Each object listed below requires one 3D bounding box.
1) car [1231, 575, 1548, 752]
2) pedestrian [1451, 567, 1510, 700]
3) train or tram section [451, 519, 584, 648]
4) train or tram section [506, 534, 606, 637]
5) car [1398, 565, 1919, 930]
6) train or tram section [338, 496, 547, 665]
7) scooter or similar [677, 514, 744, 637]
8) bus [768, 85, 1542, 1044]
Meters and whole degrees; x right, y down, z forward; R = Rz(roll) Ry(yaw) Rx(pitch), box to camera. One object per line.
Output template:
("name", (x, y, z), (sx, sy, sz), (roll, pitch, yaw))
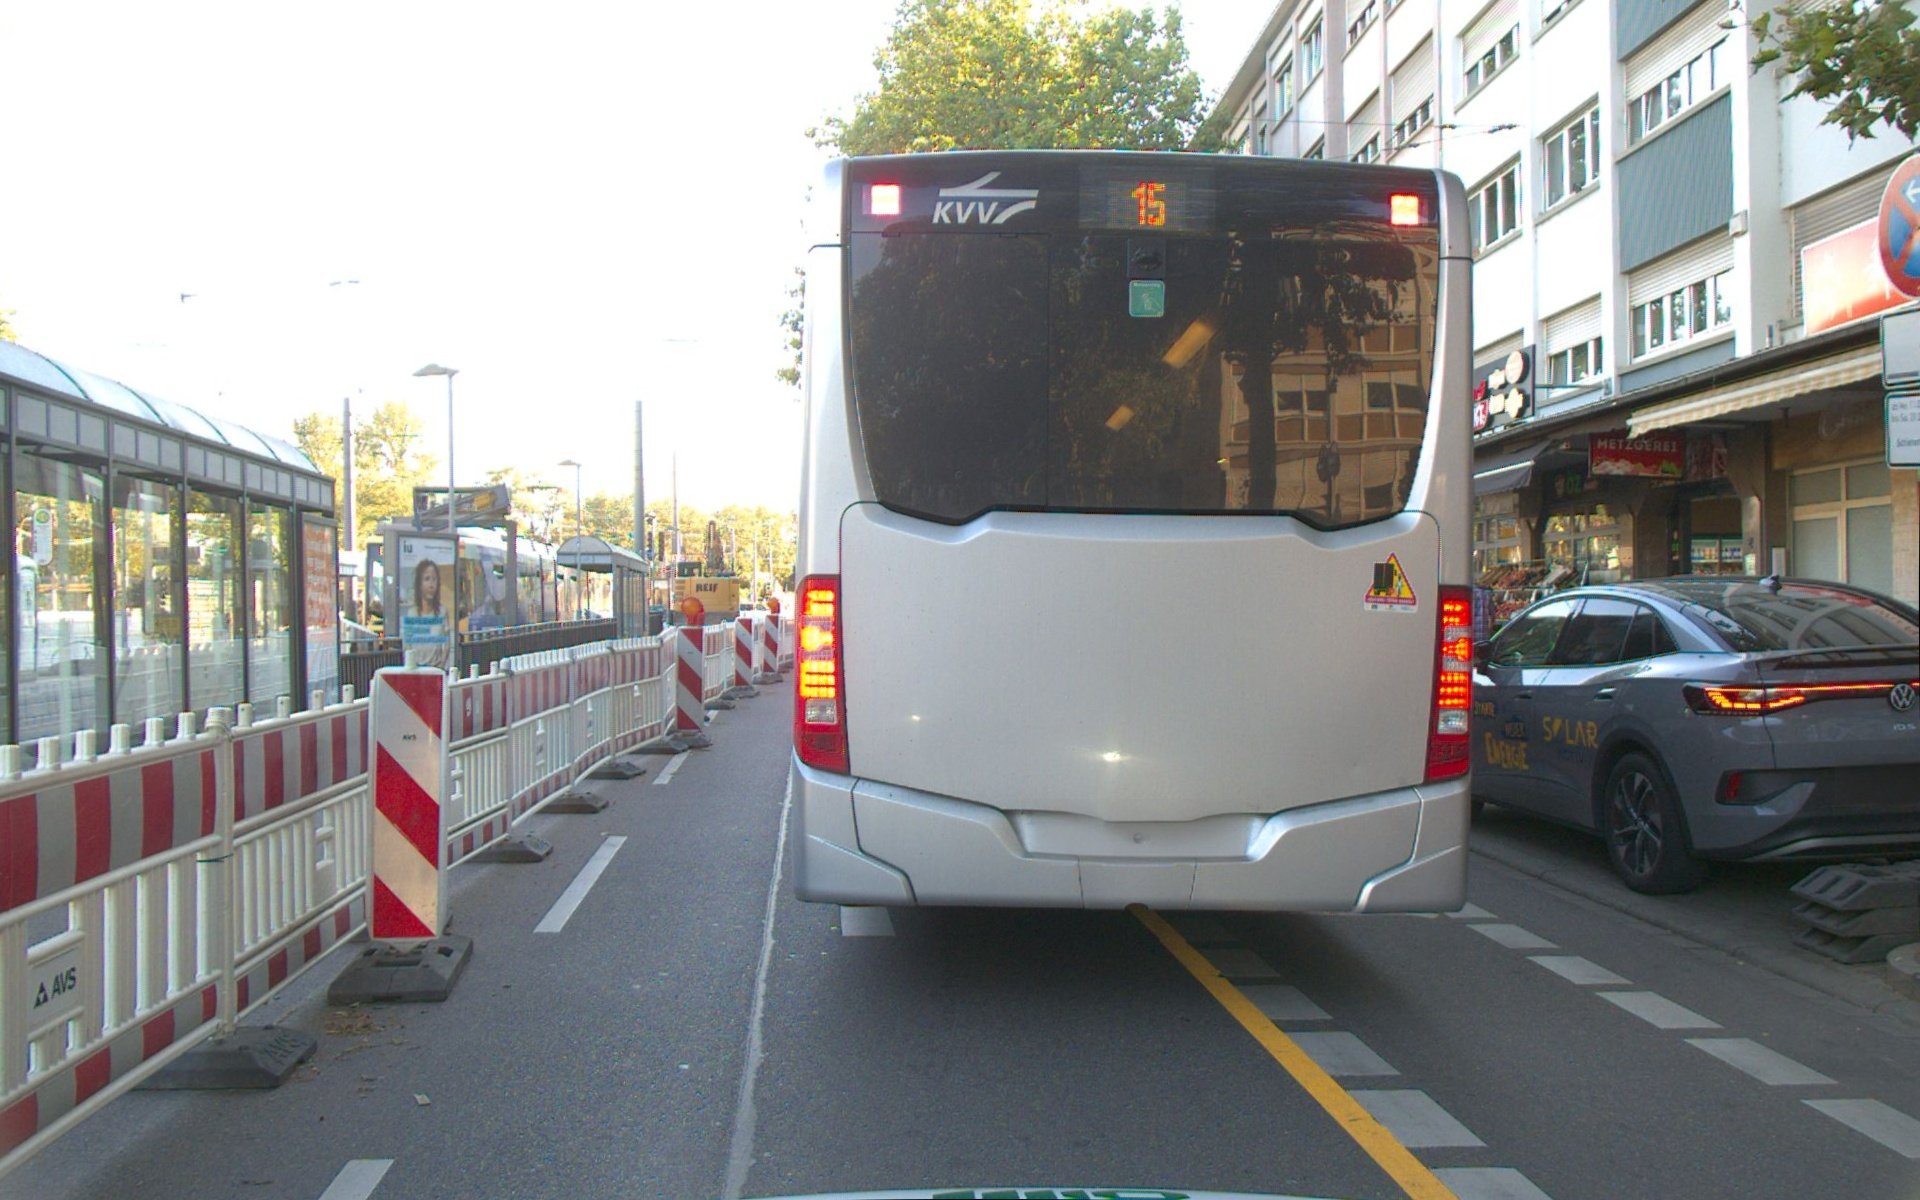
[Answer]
("car", (4.518, 0.593, 18.161), (1.955, 1.609, 4.363), (-3, 1, -5))
("pedestrian", (6.823, 0.438, 21.709), (0.649, 1.696, 0.601), (-2, -1, 15))
("train or tram section", (-13.943, -0.451, 52.996), (2.636, 3.621, 11.560), (1, 0, -8))
("train or tram section", (-15.565, -0.486, 64.453), (2.636, 3.594, 11.560), (1, 0, -8))
("car", (4.365, 0.651, 9.866), (1.955, 1.609, 4.363), (-3, 1, -5))
("train or tram section", (-12.565, -0.394, 41.391), (2.635, 3.595, 11.756), (1, 0, -6))
("scooter or similar", (-9.661, -0.904, 64.322), (2.422, 4.549, 5.962), (-1, 0, -8))
("bus", (0.614, -0.106, 9.577), (2.558, 3.181, 7.991), (1, 0, -1))
